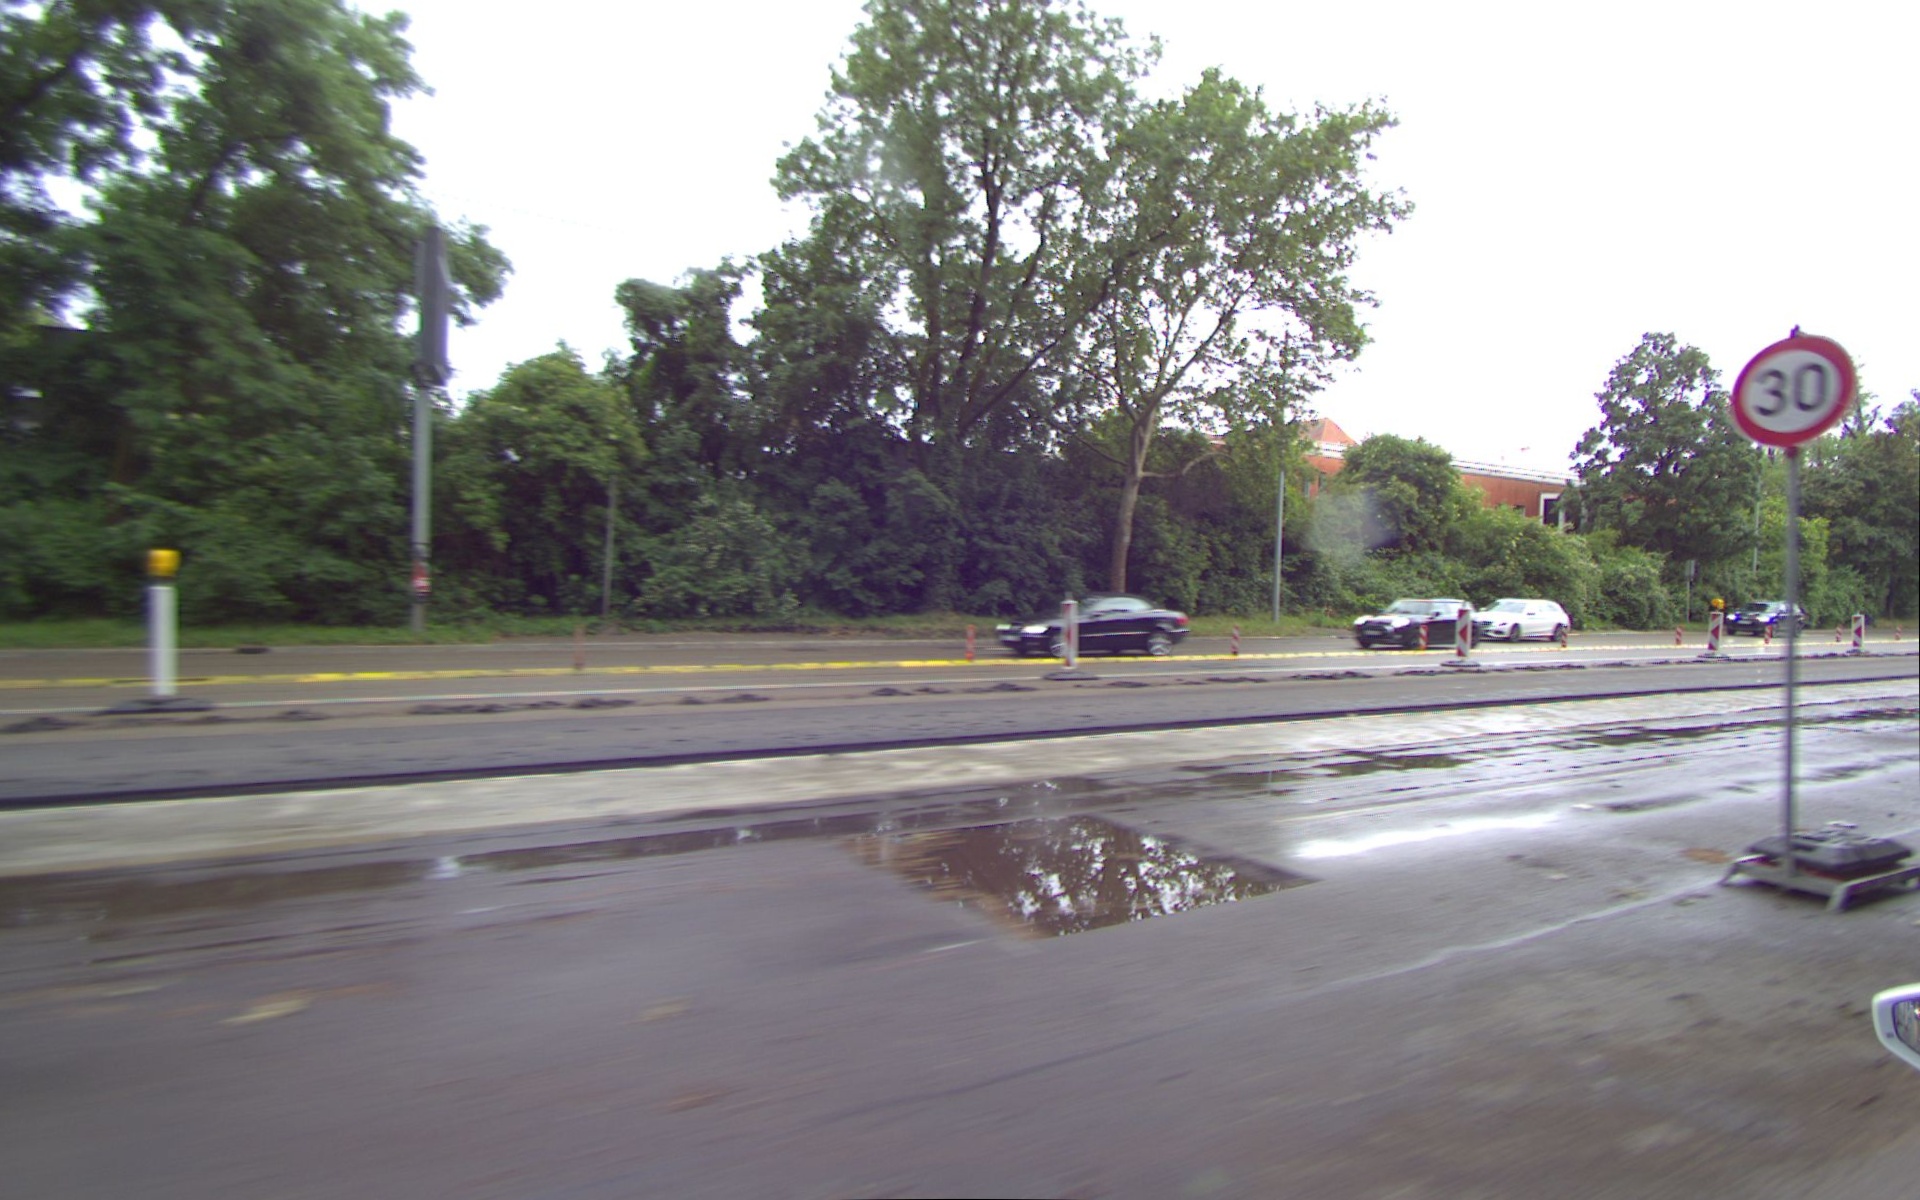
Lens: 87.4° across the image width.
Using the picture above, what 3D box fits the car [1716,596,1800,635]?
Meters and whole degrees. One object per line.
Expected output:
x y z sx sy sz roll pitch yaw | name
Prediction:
37.477 0.708 47.133 4.482 1.708 1.644 0 2 -32 | car

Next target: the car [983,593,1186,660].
2.816 0.566 22.364 4.340 1.373 1.808 0 -1 -32 | car

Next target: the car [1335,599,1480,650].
12.881 0.678 28.877 4.157 1.373 1.808 0 -1 -32 | car

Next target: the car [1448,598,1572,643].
19.395 0.691 35.361 4.551 1.439 1.808 0 2 -32 | car
